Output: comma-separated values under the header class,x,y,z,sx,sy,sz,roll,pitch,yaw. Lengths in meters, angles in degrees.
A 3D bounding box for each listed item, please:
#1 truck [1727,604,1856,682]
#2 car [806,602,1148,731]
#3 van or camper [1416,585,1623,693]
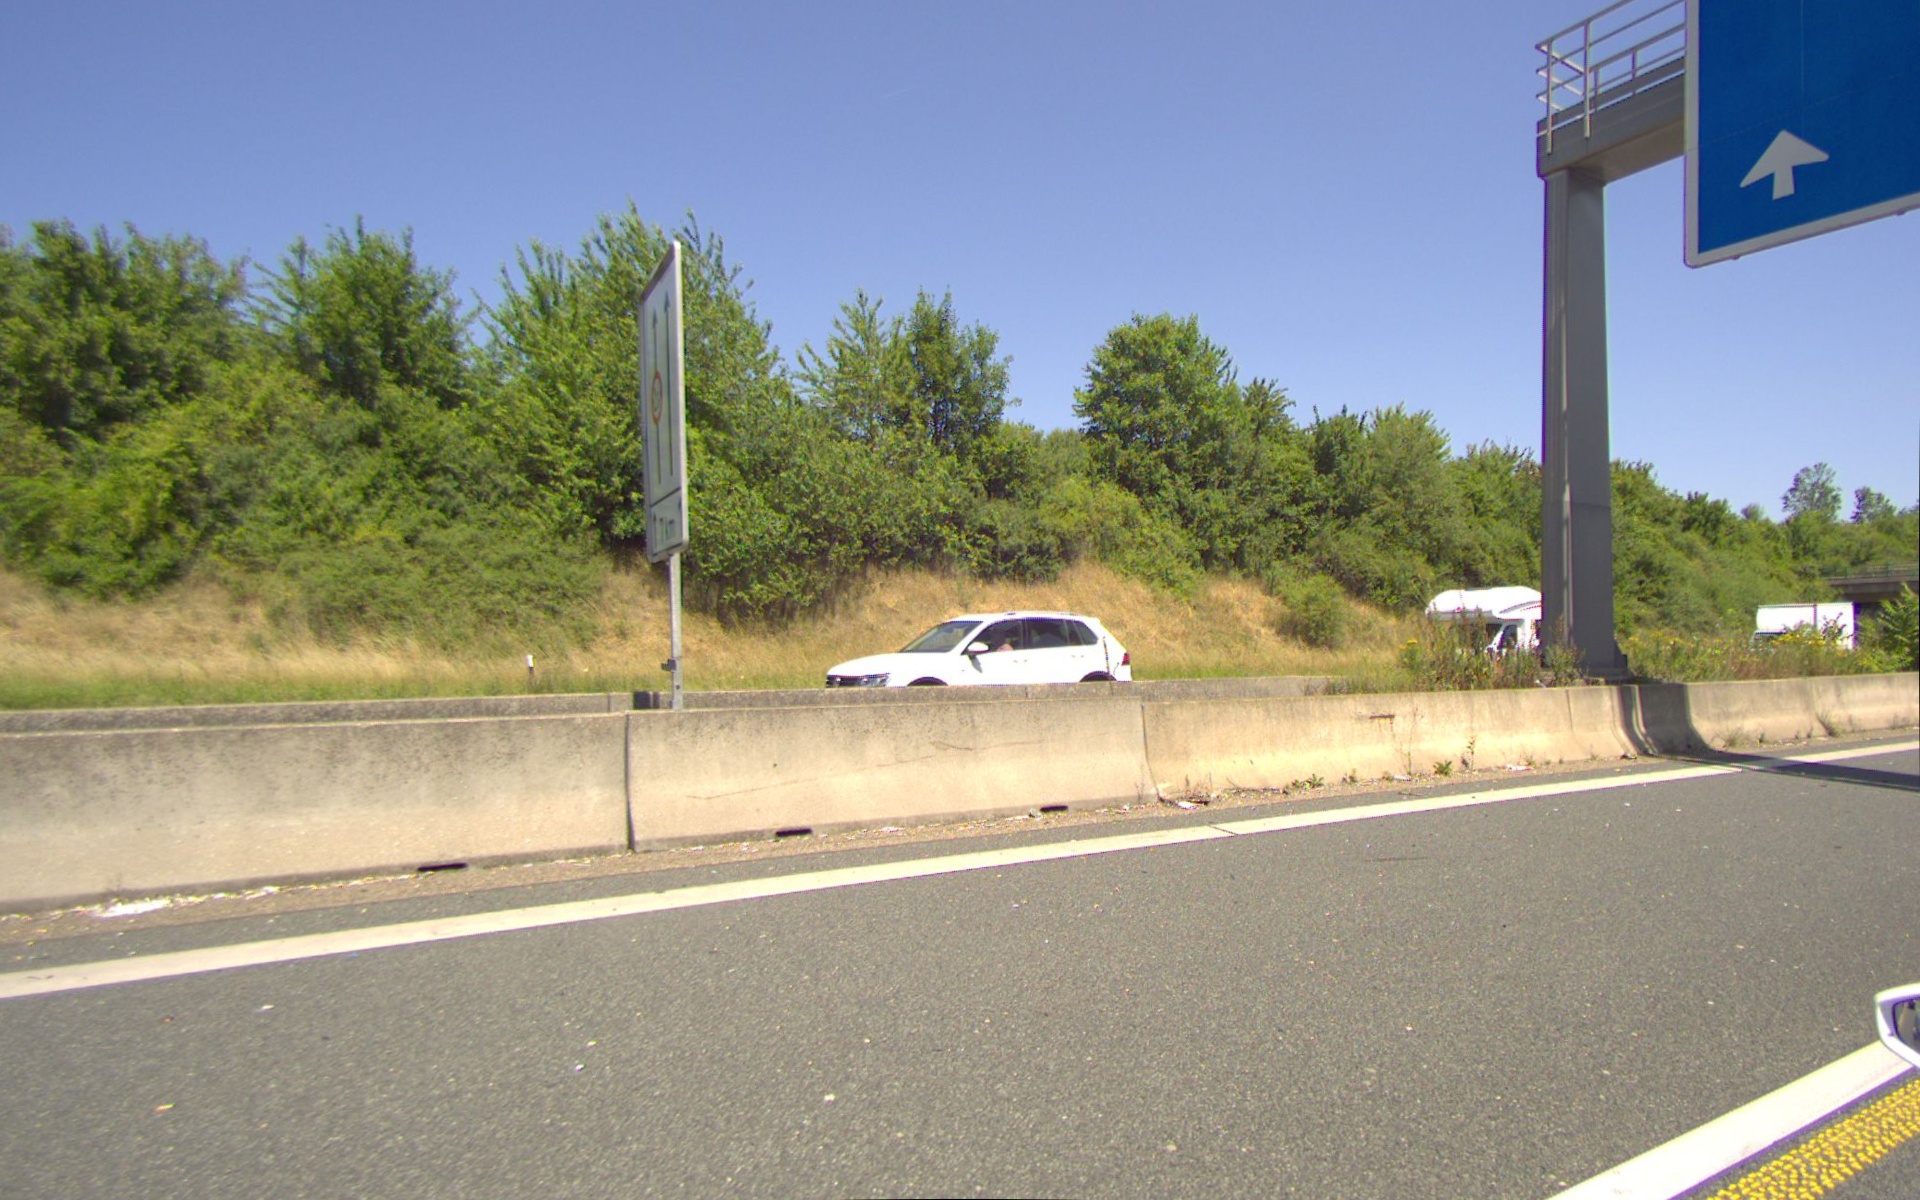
class,x,y,z,sx,sy,sz,roll,pitch,yaw
truck,37.495,1.926,45.280,6.290,3.302,2.484,2,-2,-30
car,0.274,0.839,13.706,4.305,1.475,1.901,2,0,-30
van or camper,18.263,1.284,32.653,7.537,3.188,2.424,2,-2,-30
